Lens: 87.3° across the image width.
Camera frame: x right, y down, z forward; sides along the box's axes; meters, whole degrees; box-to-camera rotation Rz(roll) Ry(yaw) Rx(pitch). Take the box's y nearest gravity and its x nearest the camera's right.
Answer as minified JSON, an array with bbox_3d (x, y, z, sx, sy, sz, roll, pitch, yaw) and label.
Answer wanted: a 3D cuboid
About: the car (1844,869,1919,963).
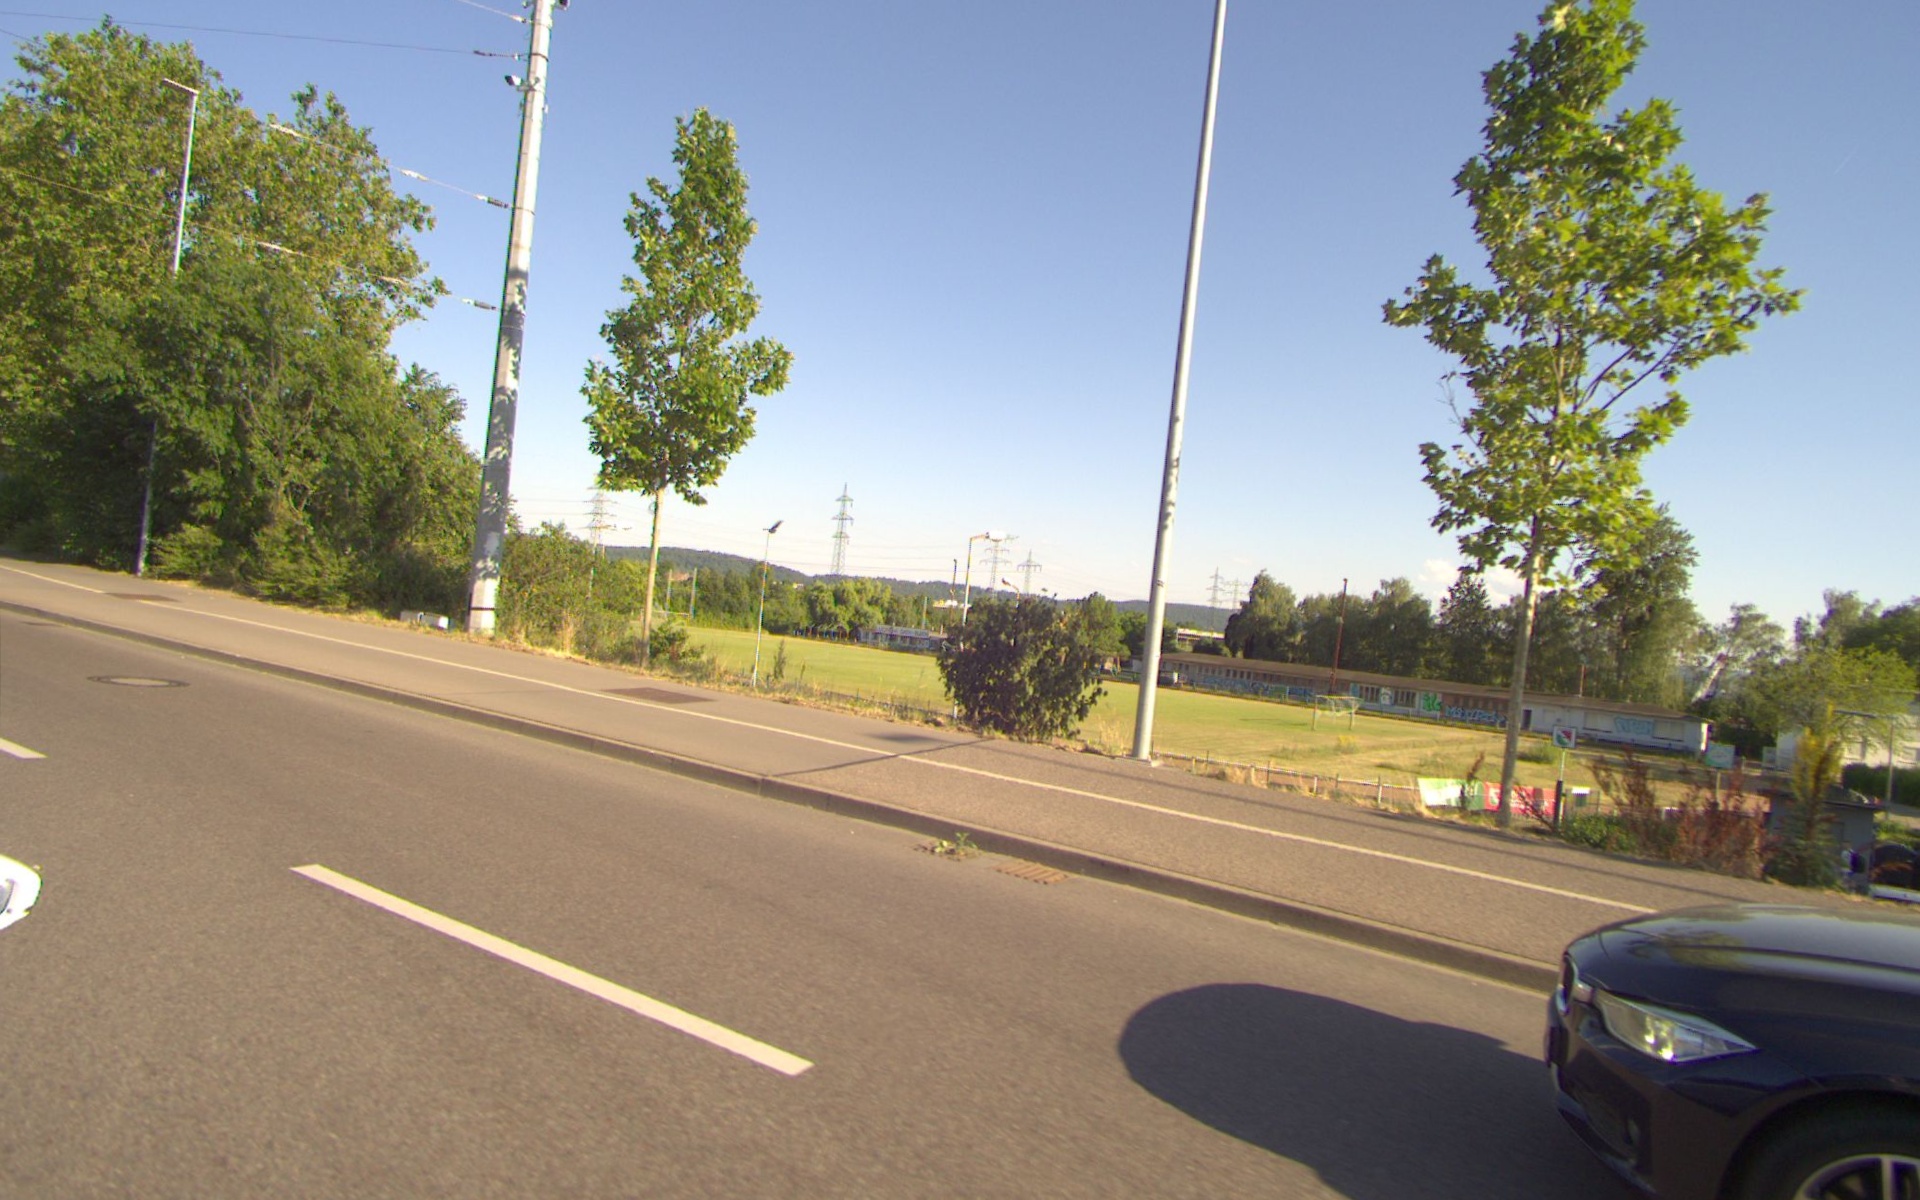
[{"bbox_3d":[21.537,7.242,23.085,1.557,1.464,3.695,6,-3,38],"label":"car"}]

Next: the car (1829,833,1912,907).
[{"bbox_3d":[27.361,8.065,30.310,1.558,1.593,3.507,6,-3,40],"label":"car"}]

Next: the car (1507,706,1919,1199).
[{"bbox_3d":[3.930,1.309,2.298,4.512,1.484,1.869,6,-2,33],"label":"car"}]
